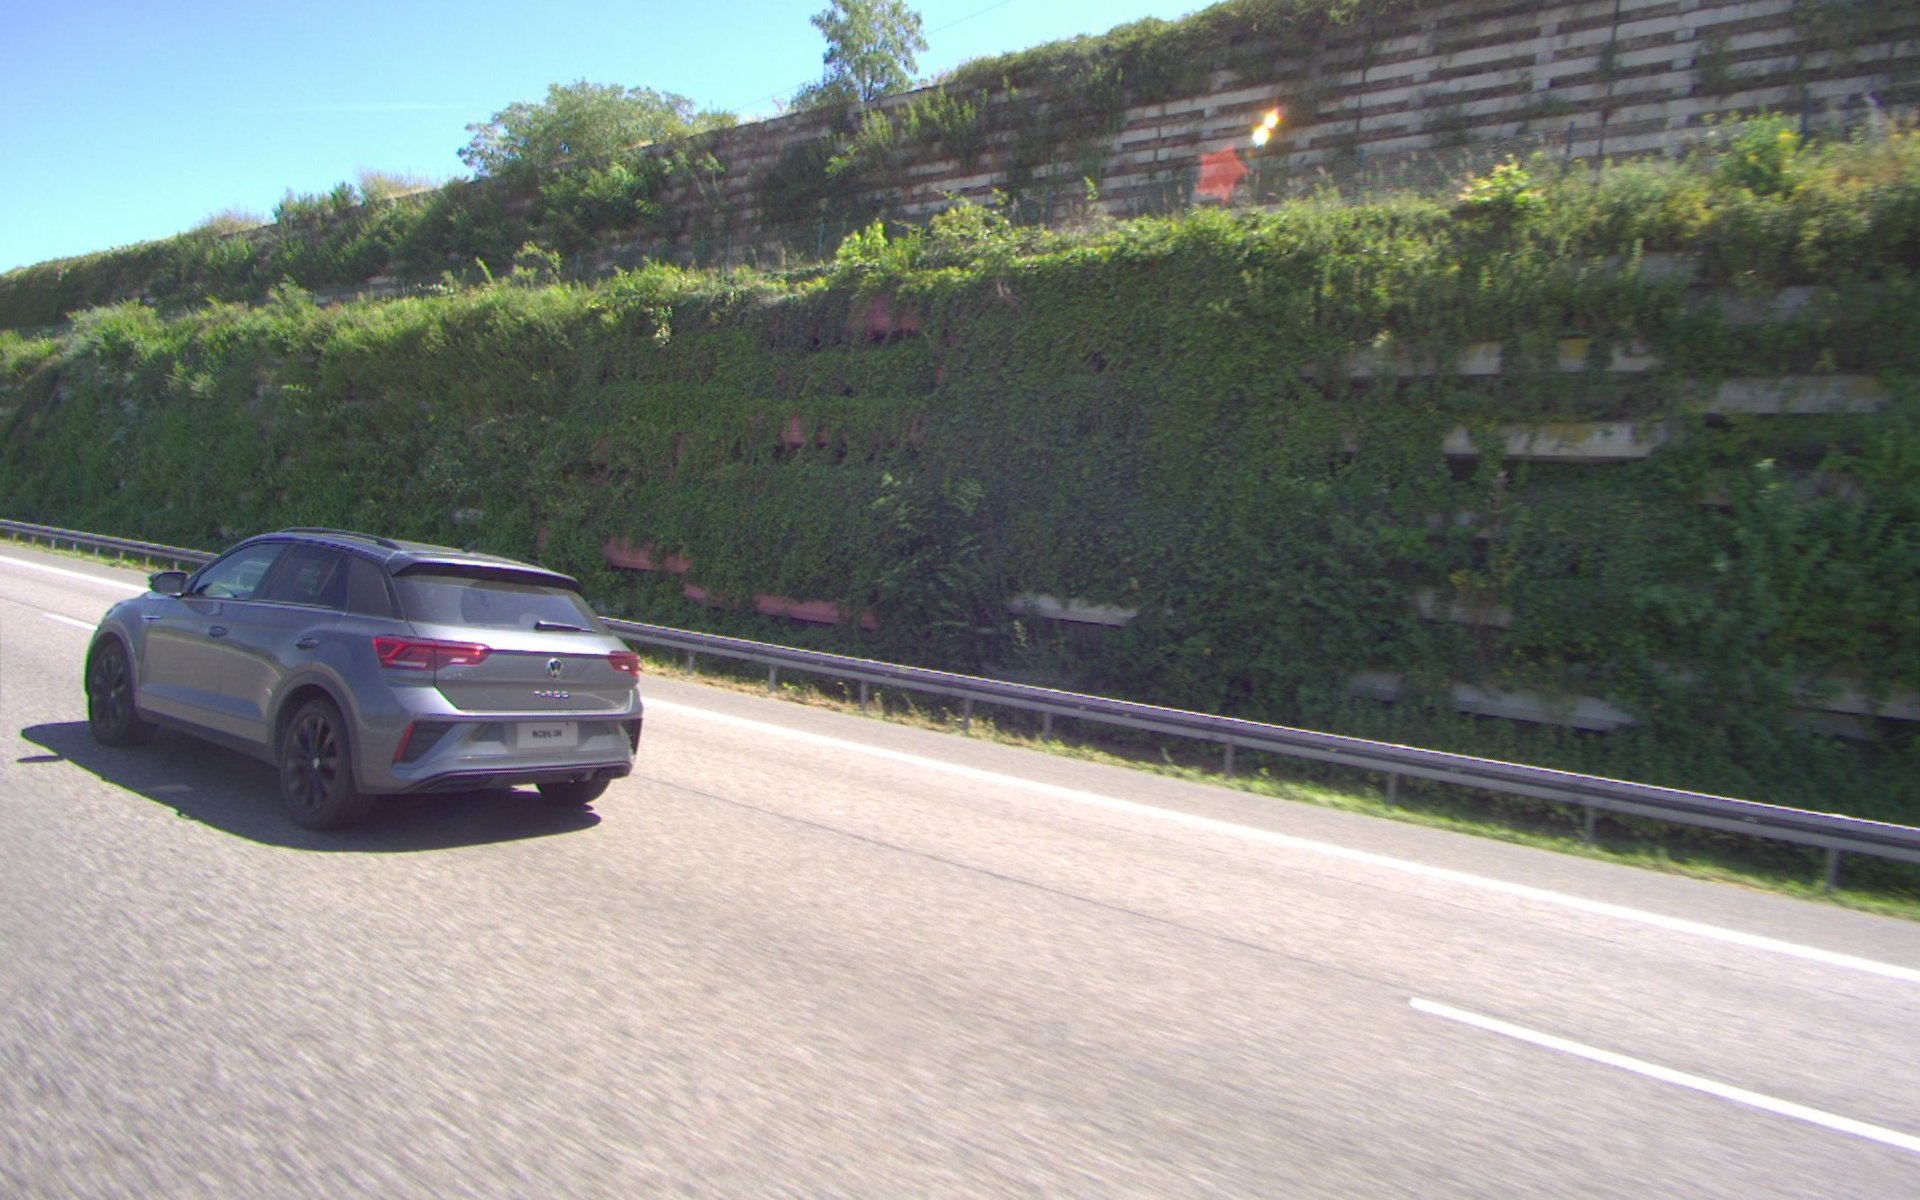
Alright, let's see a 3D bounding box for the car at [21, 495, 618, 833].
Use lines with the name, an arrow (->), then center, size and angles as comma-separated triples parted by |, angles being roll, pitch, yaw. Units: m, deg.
car -> -4.414, 0.282, 6.808 | 3.929, 1.543, 1.752 | 6, -1, 31
